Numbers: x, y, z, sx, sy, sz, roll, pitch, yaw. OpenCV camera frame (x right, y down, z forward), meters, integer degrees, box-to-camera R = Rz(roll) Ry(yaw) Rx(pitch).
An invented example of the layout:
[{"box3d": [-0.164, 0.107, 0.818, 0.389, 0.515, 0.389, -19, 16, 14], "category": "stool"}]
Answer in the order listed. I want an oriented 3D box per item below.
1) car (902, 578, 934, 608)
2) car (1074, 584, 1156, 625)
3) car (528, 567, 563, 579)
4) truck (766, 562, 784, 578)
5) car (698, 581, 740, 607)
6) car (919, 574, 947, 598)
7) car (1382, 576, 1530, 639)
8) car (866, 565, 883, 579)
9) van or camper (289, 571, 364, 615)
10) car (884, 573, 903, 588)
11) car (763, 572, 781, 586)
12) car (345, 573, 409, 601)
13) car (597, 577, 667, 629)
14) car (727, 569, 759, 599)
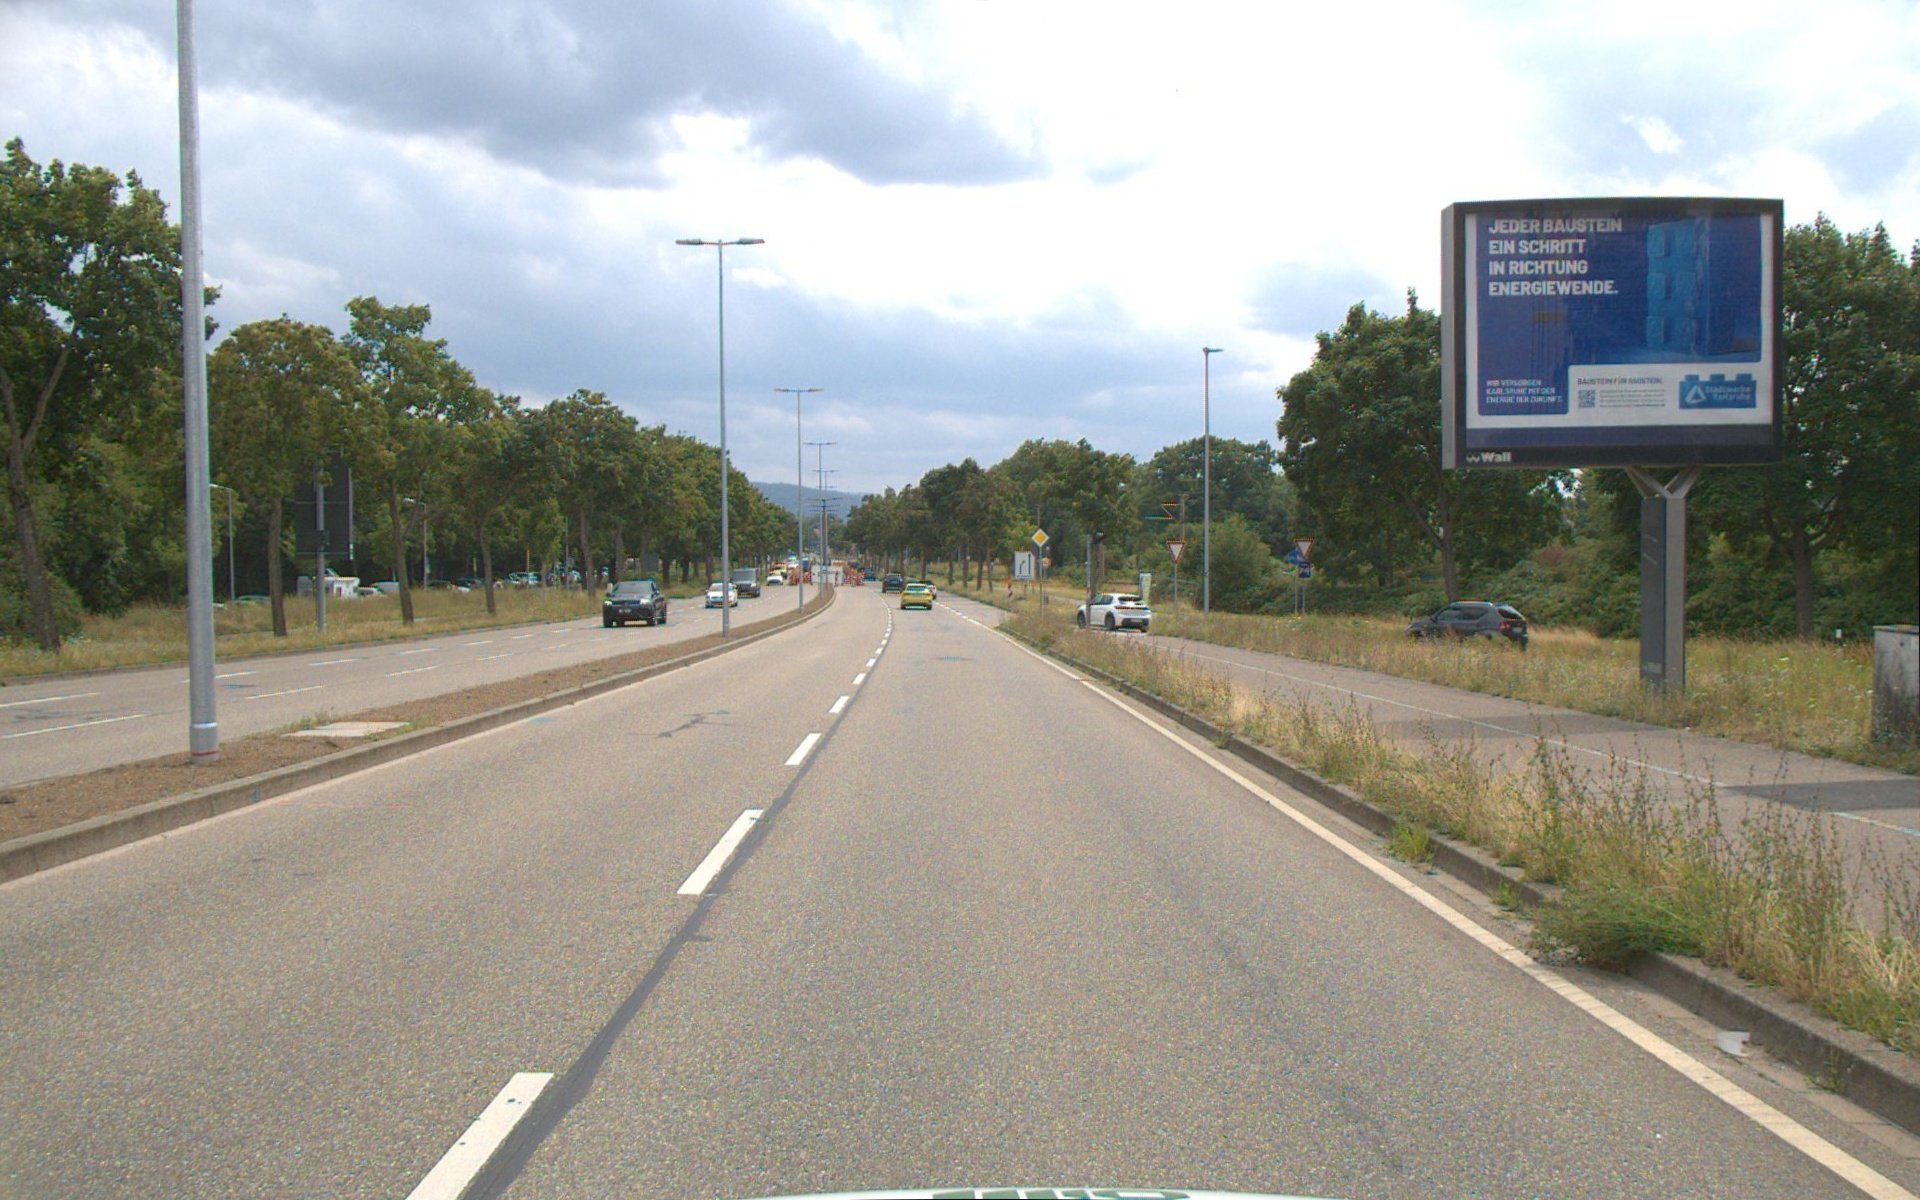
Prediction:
[{"box3d": [-2.414, -0.422, 94.493, 1.757, 1.589, 3.998, 0, 2, -3], "category": "car"}, {"box3d": [6.094, 0.151, 65.480, 1.740, 1.489, 3.978, -1, 2, -19], "category": "car"}, {"box3d": [-48.552, -3.186, 193.855, 3.697, 1.450, 1.965, 0, 2, -2], "category": "car"}, {"box3d": [-24.958, -4.042, 223.380, 2.047, 2.029, 6.036, -2, 2, -3], "category": "truck"}, {"box3d": [-14.686, -0.378, 101.135, 1.953, 1.455, 4.687, -1, 1, -1], "category": "car"}, {"box3d": [-2.025, -1.098, 124.909, 1.973, 1.699, 3.998, 0, 2, -3], "category": "car"}, {"box3d": [14.604, 0.194, 48.687, 3.910, 1.697, 1.707, 2, 1, 27], "category": "car"}, {"box3d": [-11.164, -3.672, 217.150, 2.162, 1.713, 3.999, 0, 2, -2], "category": "car"}, {"box3d": [-39.616, -0.504, 103.658, 2.422, 2.585, 6.717, 0, 2, -3], "category": "van or camper"}, {"box3d": [-5.783, -1.704, 143.188, 1.634, 1.292, 3.998, 0, 2, -3], "category": "car"}, {"box3d": [-21.013, -2.367, 185.090, 1.682, 1.444, 4.158, -2, 2, -3], "category": "car"}, {"box3d": [-41.457, -0.949, 117.719, 3.908, 1.920, 1.938, 0, 2, -4], "category": "car"}, {"box3d": [-12.851, 0.092, 65.092, 1.954, 1.843, 4.796, -1, 2, -3], "category": "car"}, {"box3d": [-17.009, -1.296, 129.873, 2.054, 2.239, 6.001, -1, 1, -3], "category": "car"}]
